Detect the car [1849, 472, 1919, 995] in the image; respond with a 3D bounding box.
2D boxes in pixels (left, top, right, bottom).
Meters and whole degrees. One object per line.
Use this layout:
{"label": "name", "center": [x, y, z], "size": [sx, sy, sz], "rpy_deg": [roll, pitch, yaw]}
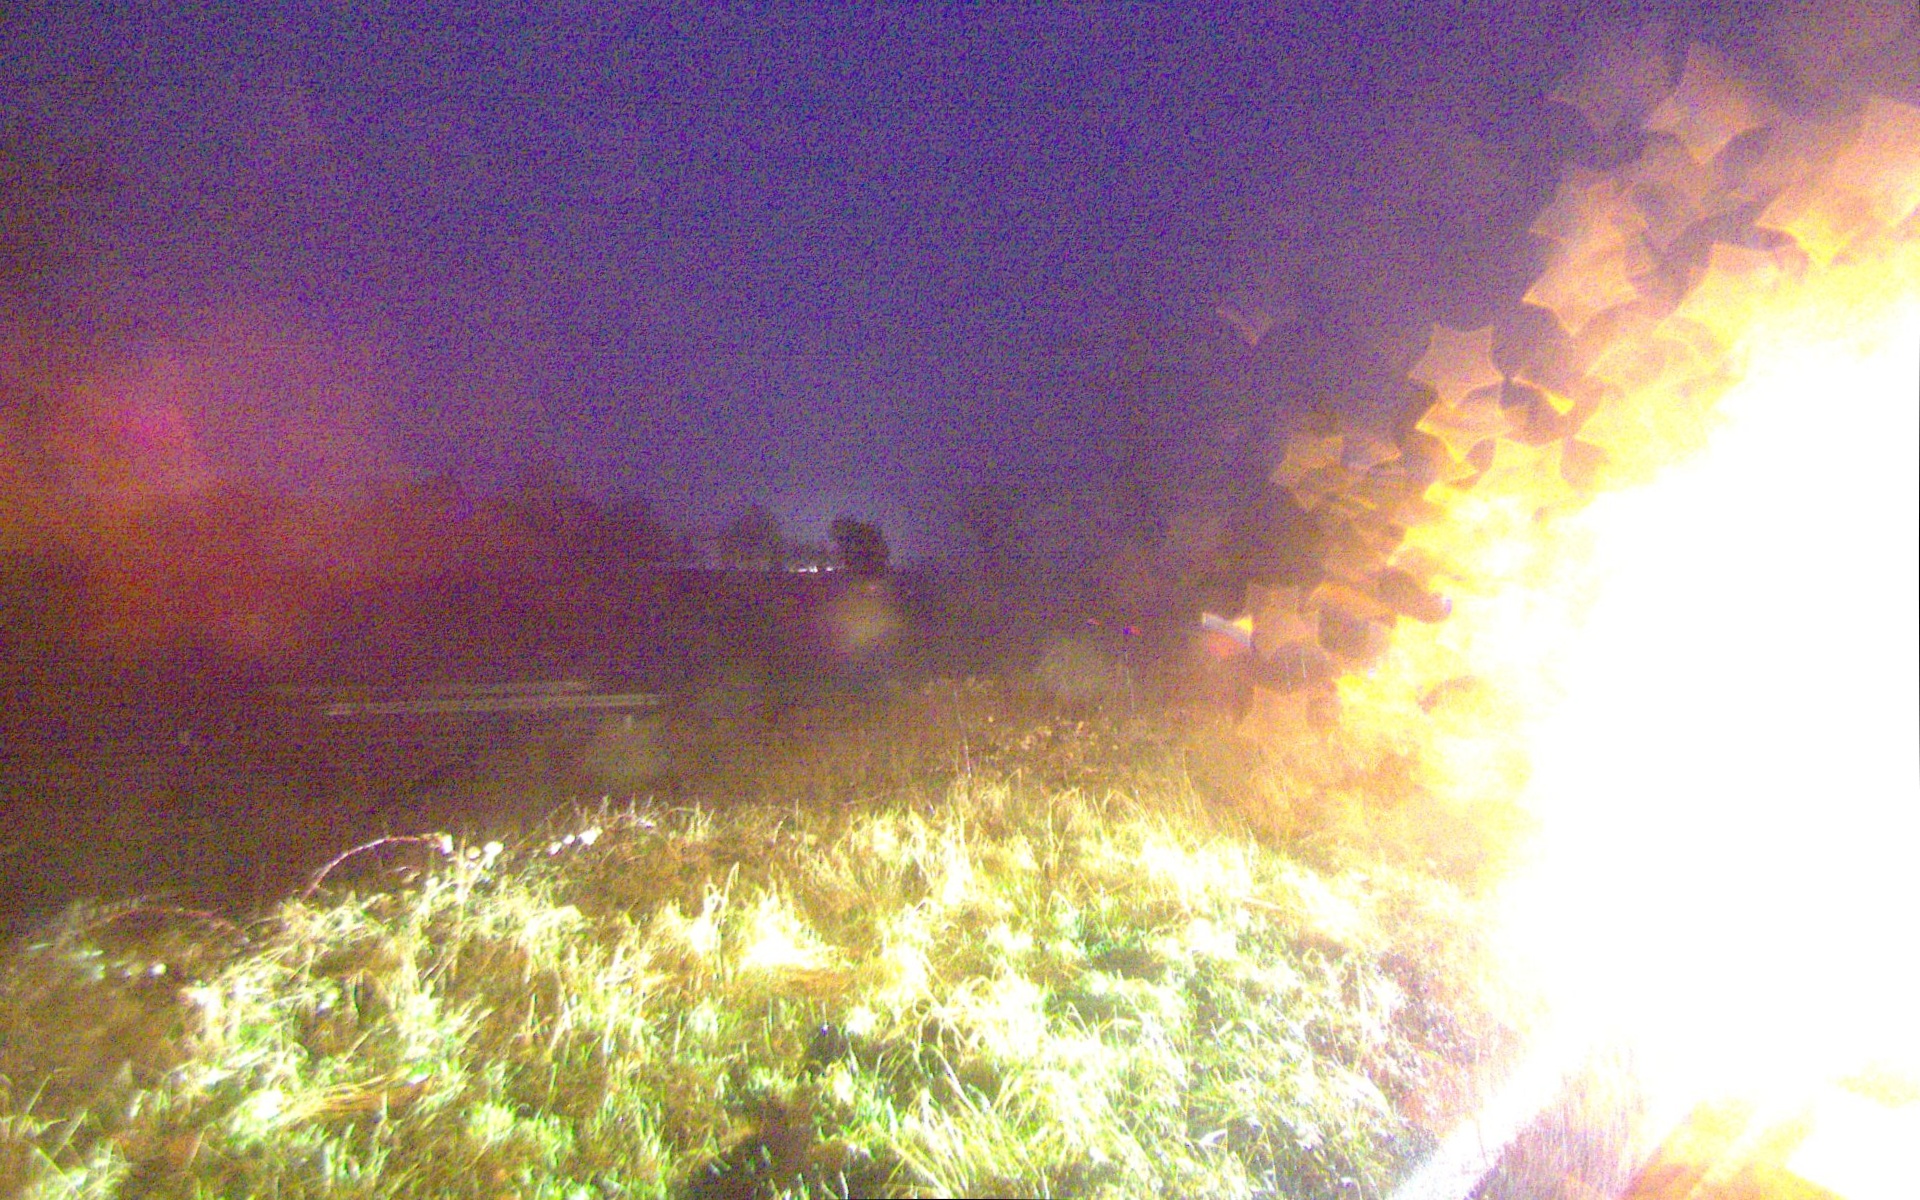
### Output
{"label": "car", "center": [5.624, 0.475, 4.828], "size": [1.996, 1.949, 4.305], "rpy_deg": [1, 1, 40]}
